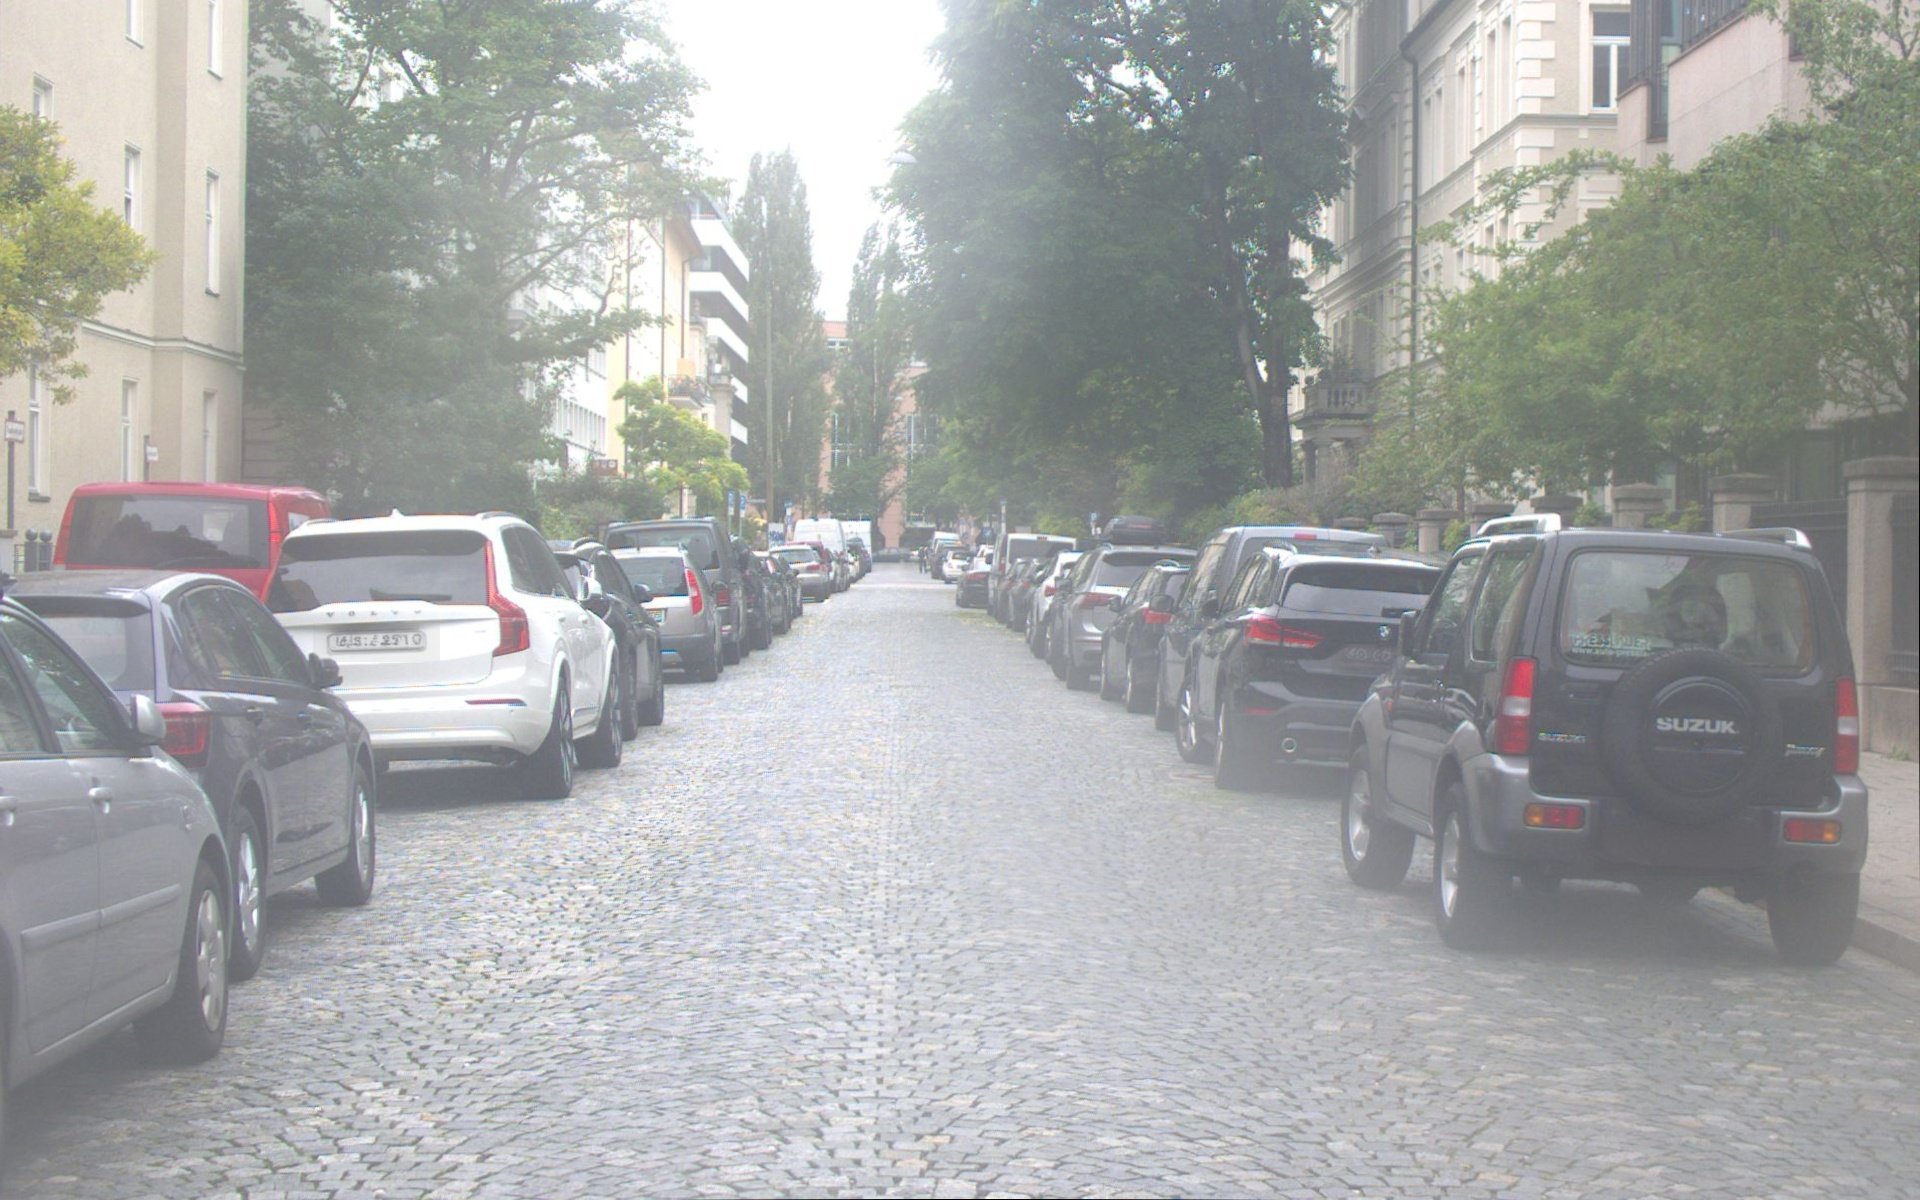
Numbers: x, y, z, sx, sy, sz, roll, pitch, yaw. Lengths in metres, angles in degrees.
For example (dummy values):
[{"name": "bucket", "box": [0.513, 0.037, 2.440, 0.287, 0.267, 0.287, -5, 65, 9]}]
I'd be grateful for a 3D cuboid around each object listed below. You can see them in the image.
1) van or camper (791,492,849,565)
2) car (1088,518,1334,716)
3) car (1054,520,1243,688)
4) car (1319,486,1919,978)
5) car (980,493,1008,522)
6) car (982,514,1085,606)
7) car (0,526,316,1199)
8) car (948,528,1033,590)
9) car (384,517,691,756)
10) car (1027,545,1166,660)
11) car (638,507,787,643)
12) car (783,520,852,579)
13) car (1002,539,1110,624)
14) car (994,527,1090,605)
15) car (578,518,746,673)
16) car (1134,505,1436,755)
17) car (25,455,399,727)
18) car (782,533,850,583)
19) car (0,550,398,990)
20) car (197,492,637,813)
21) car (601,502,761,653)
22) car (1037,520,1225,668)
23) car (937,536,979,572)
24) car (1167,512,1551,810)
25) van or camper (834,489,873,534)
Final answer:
[{"name": "van or camper", "box": [-5.318, -2.721, 130.888, 1.993, 2.643, 4.000, -2, 1, 0]}, {"name": "car", "box": [2.448, 0.115, 34.621, 1.873, 1.729, 4.659, 4, 1, -2]}, {"name": "car", "box": [2.107, 0.004, 39.612, 1.873, 1.729, 4.892, 3, 1, 0]}, {"name": "car", "box": [2.674, 0.456, 14.749, 1.618, 1.745, 3.888, 3, 1, -2]}, {"name": "car", "box": [2.507, -6.854, 254.971, 1.993, 2.007, 4.000, 1, 1, 0]}, {"name": "car", "box": [1.637, -0.925, 78.224, 1.873, 1.921, 5.165, 3, 1, -3]}, {"name": "car", "box": [-2.928, 0.609, 8.977, 1.713, 1.557, 4.391, -1, 1, -1]}, {"name": "car", "box": [0.773, -1.088, 90.200, 1.873, 1.498, 4.512, 3, 1, -3]}, {"name": "car", "box": [-3.443, 0.238, 28.906, 1.917, 1.729, 4.756, -4, 1, 0]}, {"name": "car", "box": [1.963, -0.006, 50.647, 1.873, 1.485, 4.617, 3, 2, 1]}, {"name": "car", "box": [-3.784, -0.421, 53.355, 1.993, 1.910, 5.178, -3, 1, -2]}, {"name": "car", "box": [-4.078, -1.460, 97.954, 1.873, 1.574, 4.256, -2, 1, -3]}, {"name": "car", "box": [1.800, -0.381, 65.636, 1.713, 1.467, 4.269, 3, 1, -2]}, {"name": "car", "box": [1.695, -0.733, 72.549, 1.837, 1.485, 4.422, 3, 1, 0]}, {"name": "car", "box": [-3.575, -0.101, 41.898, 1.865, 1.729, 4.404, -2, 1, -3]}, {"name": "car", "box": [2.614, 0.190, 28.670, 1.788, 1.790, 4.510, 4, 1, -2]}, {"name": "car", "box": [-5.917, -0.116, 27.873, 1.994, 1.924, 5.331, 2, 1, -2]}, {"name": "car", "box": [-4.840, -1.429, 115.945, 1.873, 1.574, 4.208, 3, 1, 2]}, {"name": "car", "box": [-3.340, 0.545, 13.261, 1.729, 1.414, 3.937, -2, 1, -1]}, {"name": "car", "box": [-3.362, 0.254, 22.340, 2.006, 1.802, 5.175, -1, 1, 0]}, {"name": "car", "box": [-3.744, -0.337, 46.873, 1.873, 1.910, 4.828, -2, 1, -2]}, {"name": "car", "box": [2.201, -0.120, 45.512, 1.873, 1.729, 4.748, 4, 1, -3]}, {"name": "car", "box": [-0.089, -2.042, 151.848, 1.790, 1.515, 4.000, 1, 1, 0]}, {"name": "car", "box": [2.561, 0.327, 23.229, 1.860, 1.696, 4.813, 3, 1, -1]}, {"name": "van or camper", "box": [-6.666, -5.522, 215.424, 2.256, 2.733, 5.098, 1, 1, -1]}]
